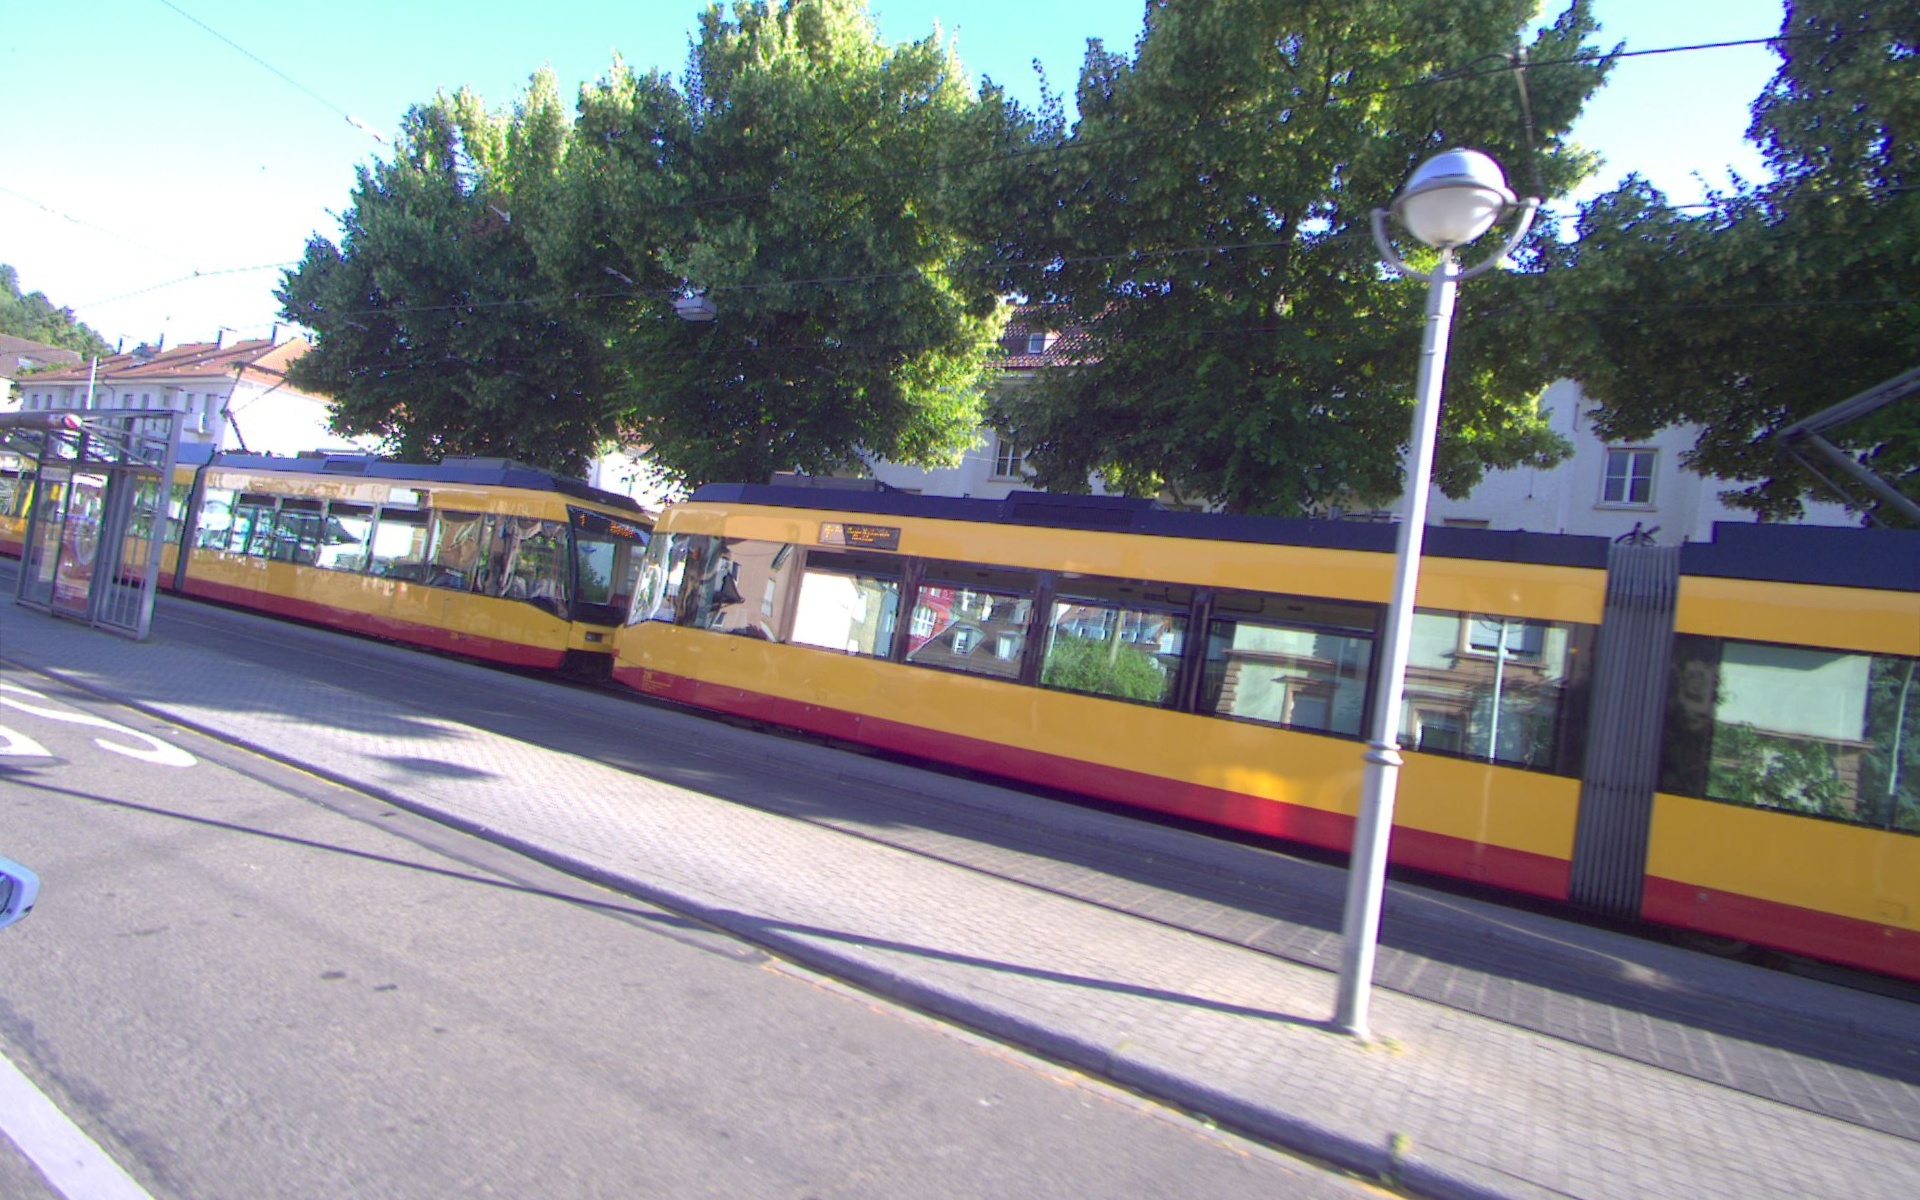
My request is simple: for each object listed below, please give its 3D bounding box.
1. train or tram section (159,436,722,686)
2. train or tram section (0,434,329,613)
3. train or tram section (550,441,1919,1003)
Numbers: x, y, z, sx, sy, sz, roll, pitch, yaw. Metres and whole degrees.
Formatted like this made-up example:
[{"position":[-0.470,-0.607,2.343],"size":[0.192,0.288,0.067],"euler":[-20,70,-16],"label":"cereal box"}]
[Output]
[{"position":[-10.668,-1.036,19.481],"size":[13.240,3.575,2.963],"euler":[6,-2,31],"label":"train or tram section"},{"position":[-22.728,-2.309,26.909],"size":[15.705,3.575,2.963],"euler":[6,-2,31],"label":"train or tram section"},{"position":[1.799,0.463,11.694],"size":[15.670,3.462,2.964],"euler":[7,-1,30],"label":"train or tram section"}]
